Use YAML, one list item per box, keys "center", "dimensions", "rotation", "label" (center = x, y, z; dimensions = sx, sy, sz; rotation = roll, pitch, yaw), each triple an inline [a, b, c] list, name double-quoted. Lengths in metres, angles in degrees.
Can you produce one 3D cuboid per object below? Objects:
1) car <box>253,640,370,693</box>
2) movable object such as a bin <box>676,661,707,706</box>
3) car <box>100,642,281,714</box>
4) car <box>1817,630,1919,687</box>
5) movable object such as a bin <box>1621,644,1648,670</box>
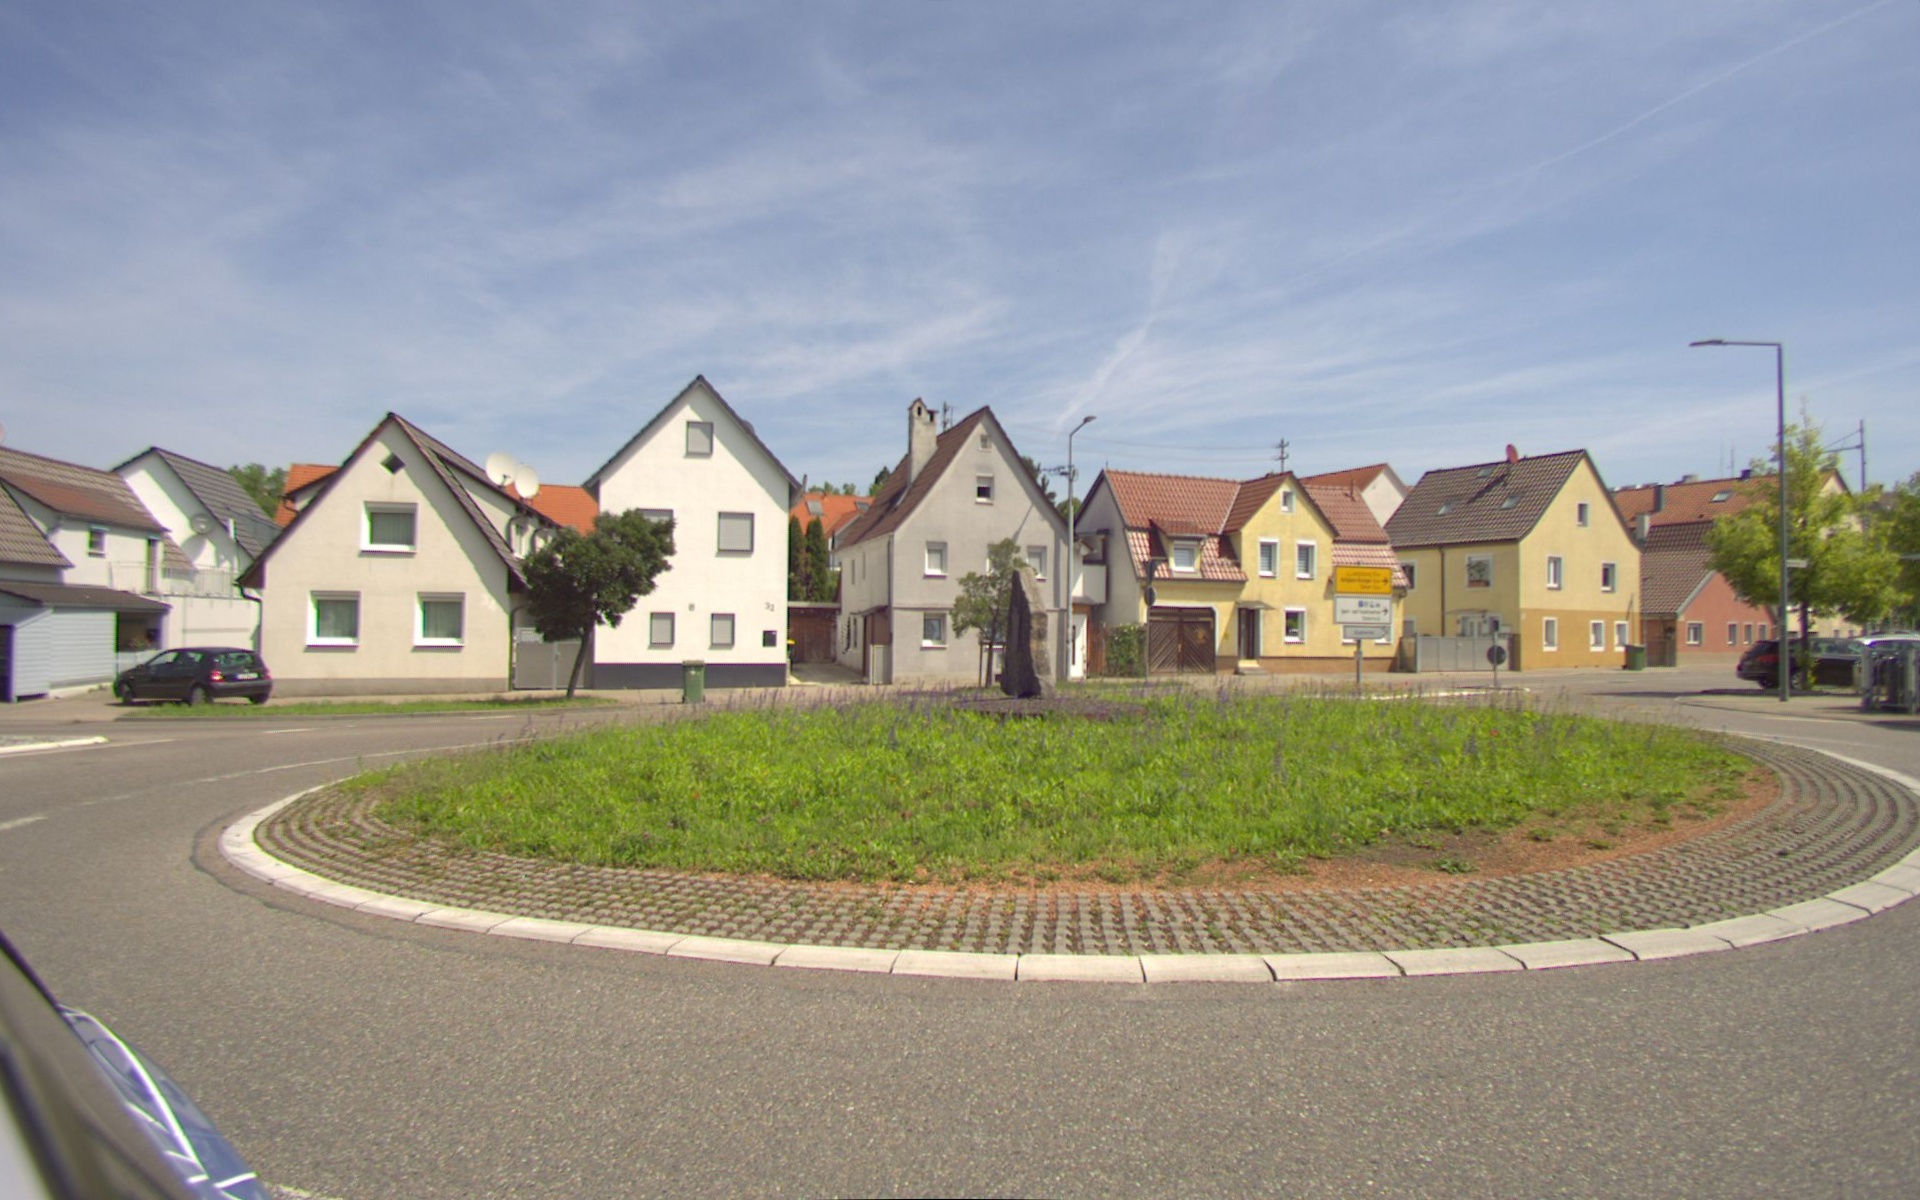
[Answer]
- center: [-21.530, 2.166, 33.799]
  dimensions: [1.967, 1.657, 3.879]
  rotation: [0, -2, -11]
  label: "car"
- center: [-6.556, 2.018, 24.705]
  dimensions: [0.569, 1.056, 0.906]
  rotation: [1, -3, -24]
  label: "movable object such as a bin"
- center: [-18.760, 1.849, 24.692]
  dimensions: [3.818, 1.452, 1.767]
  rotation: [1, 1, 20]
  label: "car"
- center: [28.175, 1.720, 29.888]
  dimensions: [3.976, 1.630, 1.803]
  rotation: [-1, -2, 24]
  label: "car"
- center: [27.796, 2.353, 41.691]
  dimensions: [0.664, 1.060, 0.701]
  rotation: [1, -3, -34]
  label: "movable object such as a bin"
